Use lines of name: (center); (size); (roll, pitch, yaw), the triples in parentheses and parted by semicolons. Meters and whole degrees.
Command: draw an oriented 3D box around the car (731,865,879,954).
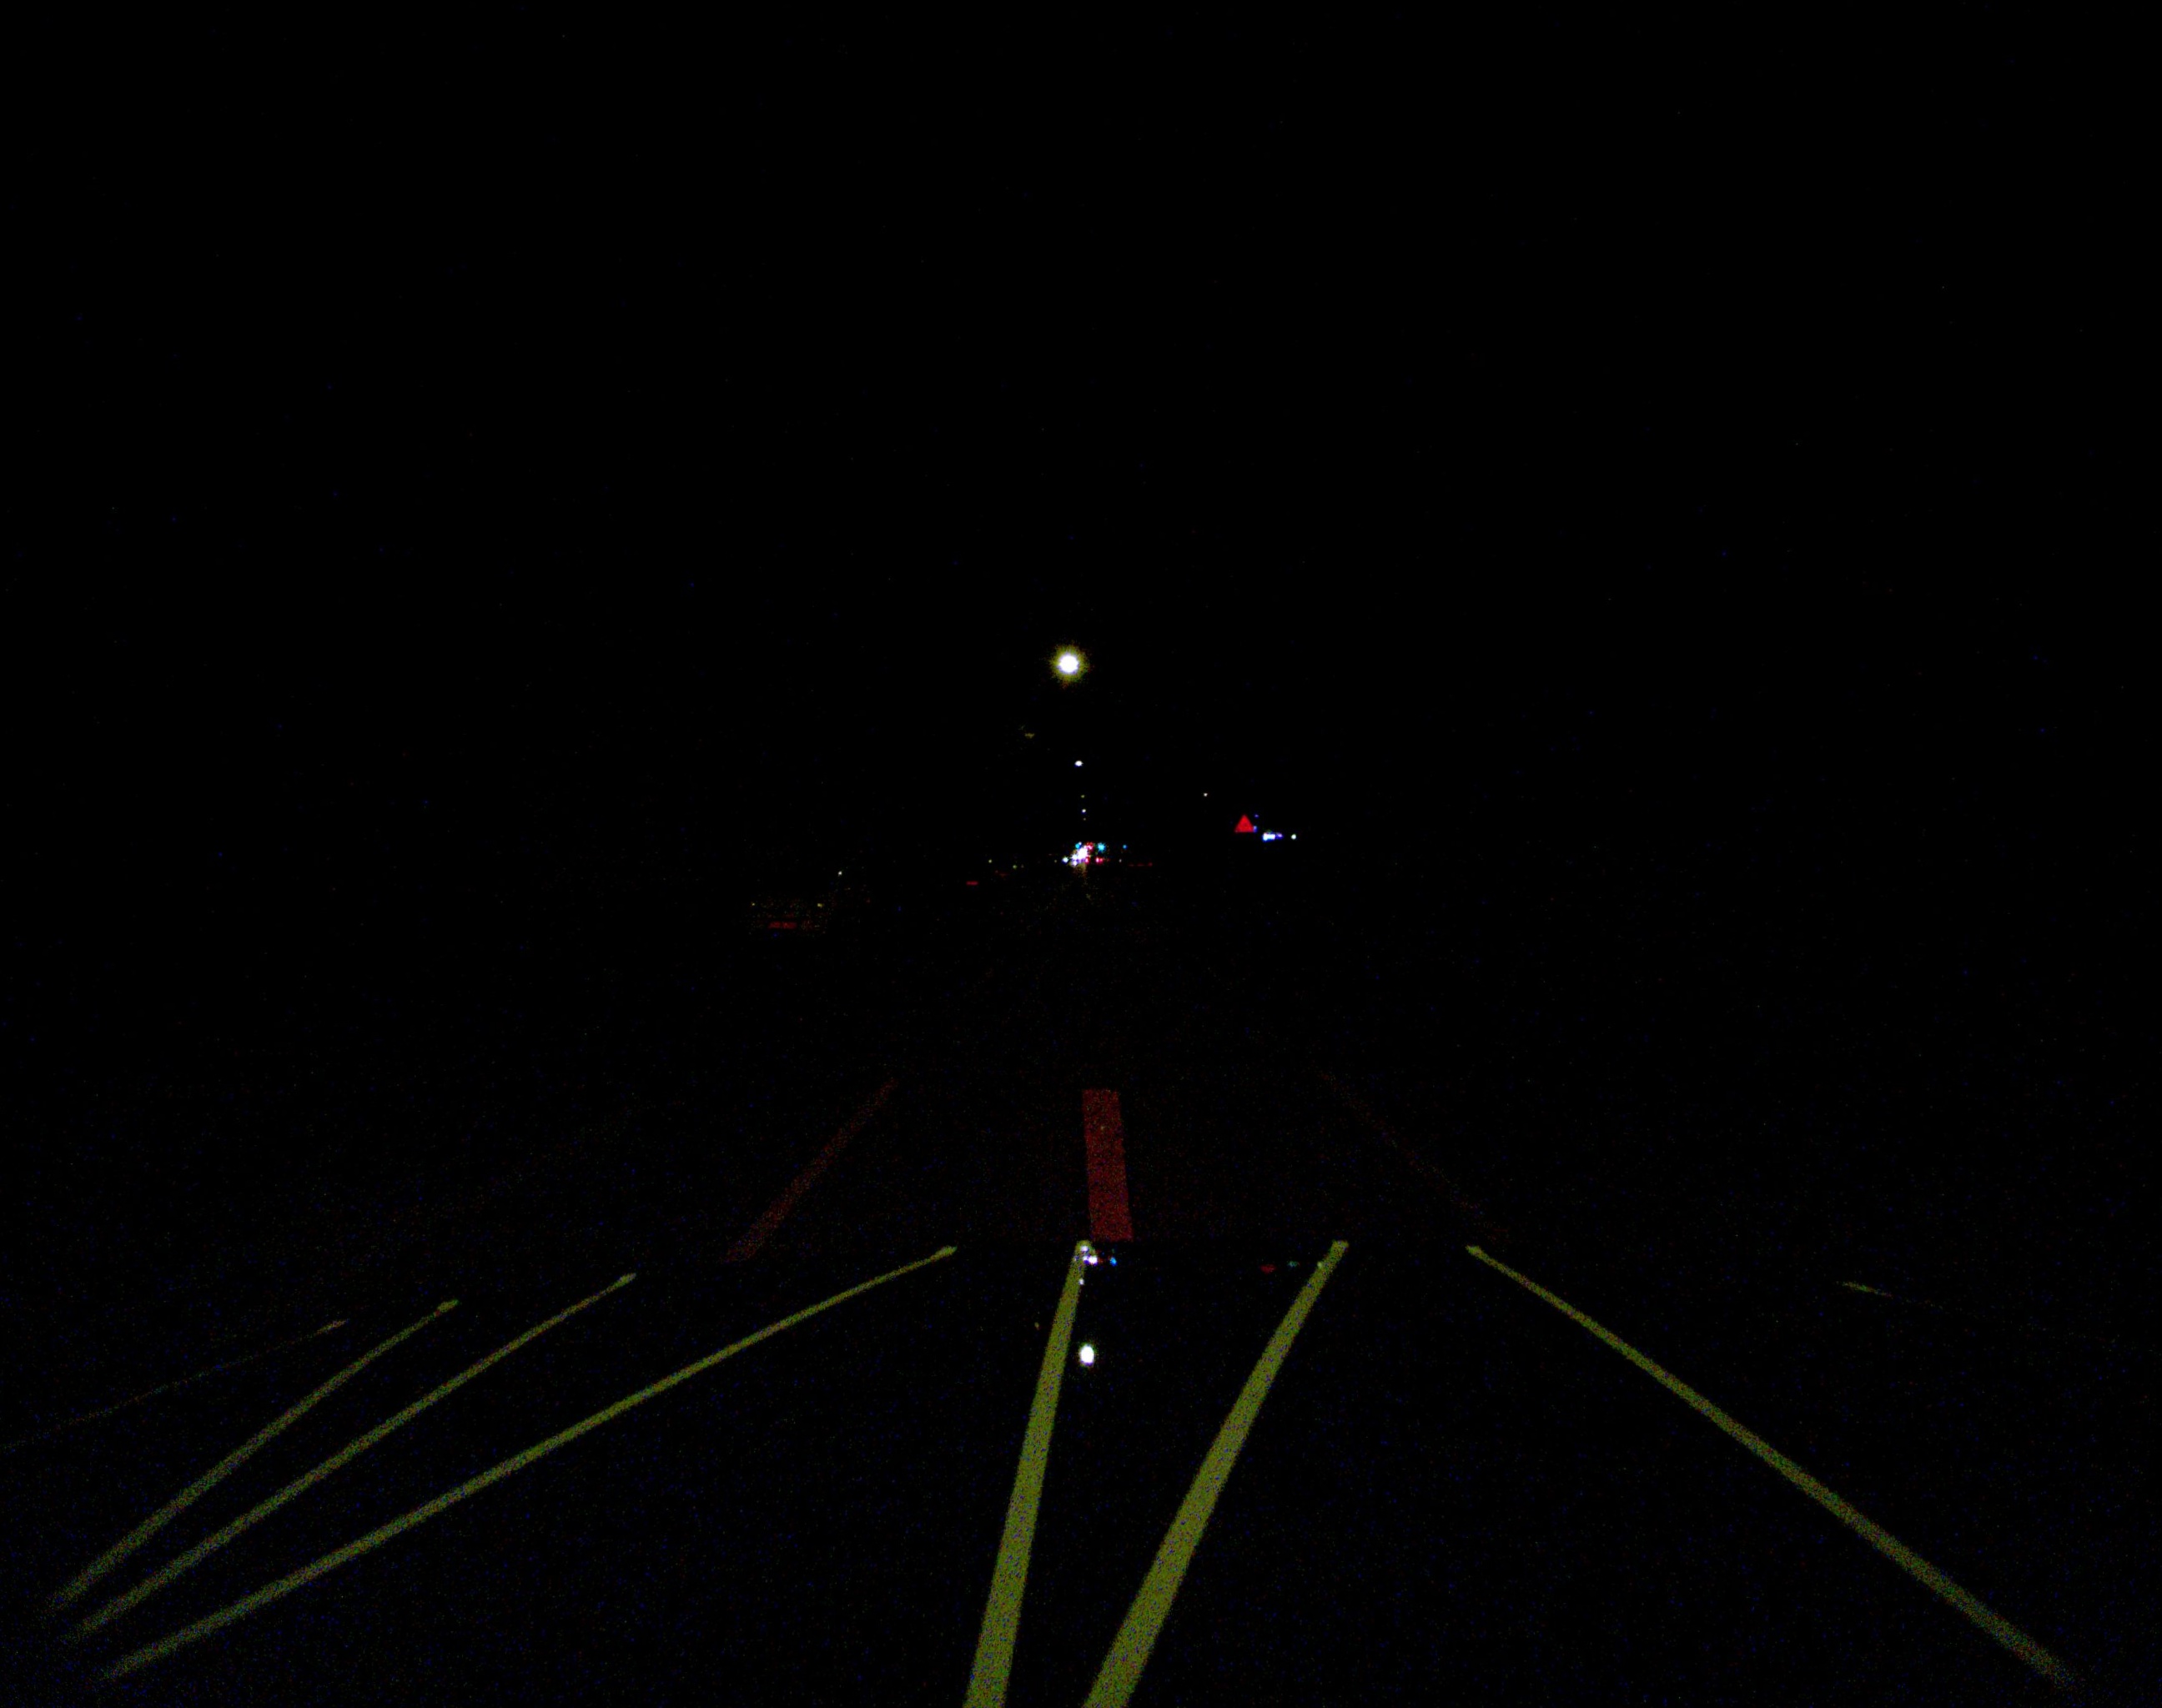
car: (-5.295, 1.004, 15.025); (1.611, 1.500, 3.486); (0, 0, 1)

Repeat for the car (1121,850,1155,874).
car: (3.885, 0.510, 52.077); (1.998, 1.477, 3.999); (-3, 1, 1)

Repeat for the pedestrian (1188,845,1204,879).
pedestrian: (5.951, 0.420, 39.335); (0.673, 1.750, 0.500); (-2, 1, 1)

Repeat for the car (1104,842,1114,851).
car: (5.632, -1.529, 153.942); (1.903, 1.581, 3.661); (-2, 1, 2)

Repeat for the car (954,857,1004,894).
car: (-4.473, 0.903, 33.943); (1.742, 1.489, 3.890); (-1, 0, -1)

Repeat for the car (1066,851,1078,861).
car: (-1.572, 0.315, 134.511); (1.998, 1.718, 3.803); (-2, 1, 1)

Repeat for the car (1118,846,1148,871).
car: (3.903, 0.299, 57.271); (1.998, 1.772, 3.999); (-2, 1, 1)

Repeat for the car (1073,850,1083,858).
car: (-0.663, 0.003, 163.203); (1.998, 1.740, 3.999); (-2, 1, 1)

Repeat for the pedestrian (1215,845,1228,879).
pedestrian: (7.303, 0.414, 39.548); (0.565, 1.750, 0.500); (-2, 1, 1)

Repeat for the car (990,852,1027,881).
car: (-4.464, 0.749, 47.476); (1.852, 1.643, 4.179); (-2, 0, 0)

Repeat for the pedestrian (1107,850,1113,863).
pedestrian: (4.455, 0.446, 118.112); (0.804, 2.002, 0.940); (-2, 1, 1)

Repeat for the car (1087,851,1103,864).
car: (1.715, 0.433, 92.947); (1.754, 1.433, 3.487); (-2, -2, 1)
